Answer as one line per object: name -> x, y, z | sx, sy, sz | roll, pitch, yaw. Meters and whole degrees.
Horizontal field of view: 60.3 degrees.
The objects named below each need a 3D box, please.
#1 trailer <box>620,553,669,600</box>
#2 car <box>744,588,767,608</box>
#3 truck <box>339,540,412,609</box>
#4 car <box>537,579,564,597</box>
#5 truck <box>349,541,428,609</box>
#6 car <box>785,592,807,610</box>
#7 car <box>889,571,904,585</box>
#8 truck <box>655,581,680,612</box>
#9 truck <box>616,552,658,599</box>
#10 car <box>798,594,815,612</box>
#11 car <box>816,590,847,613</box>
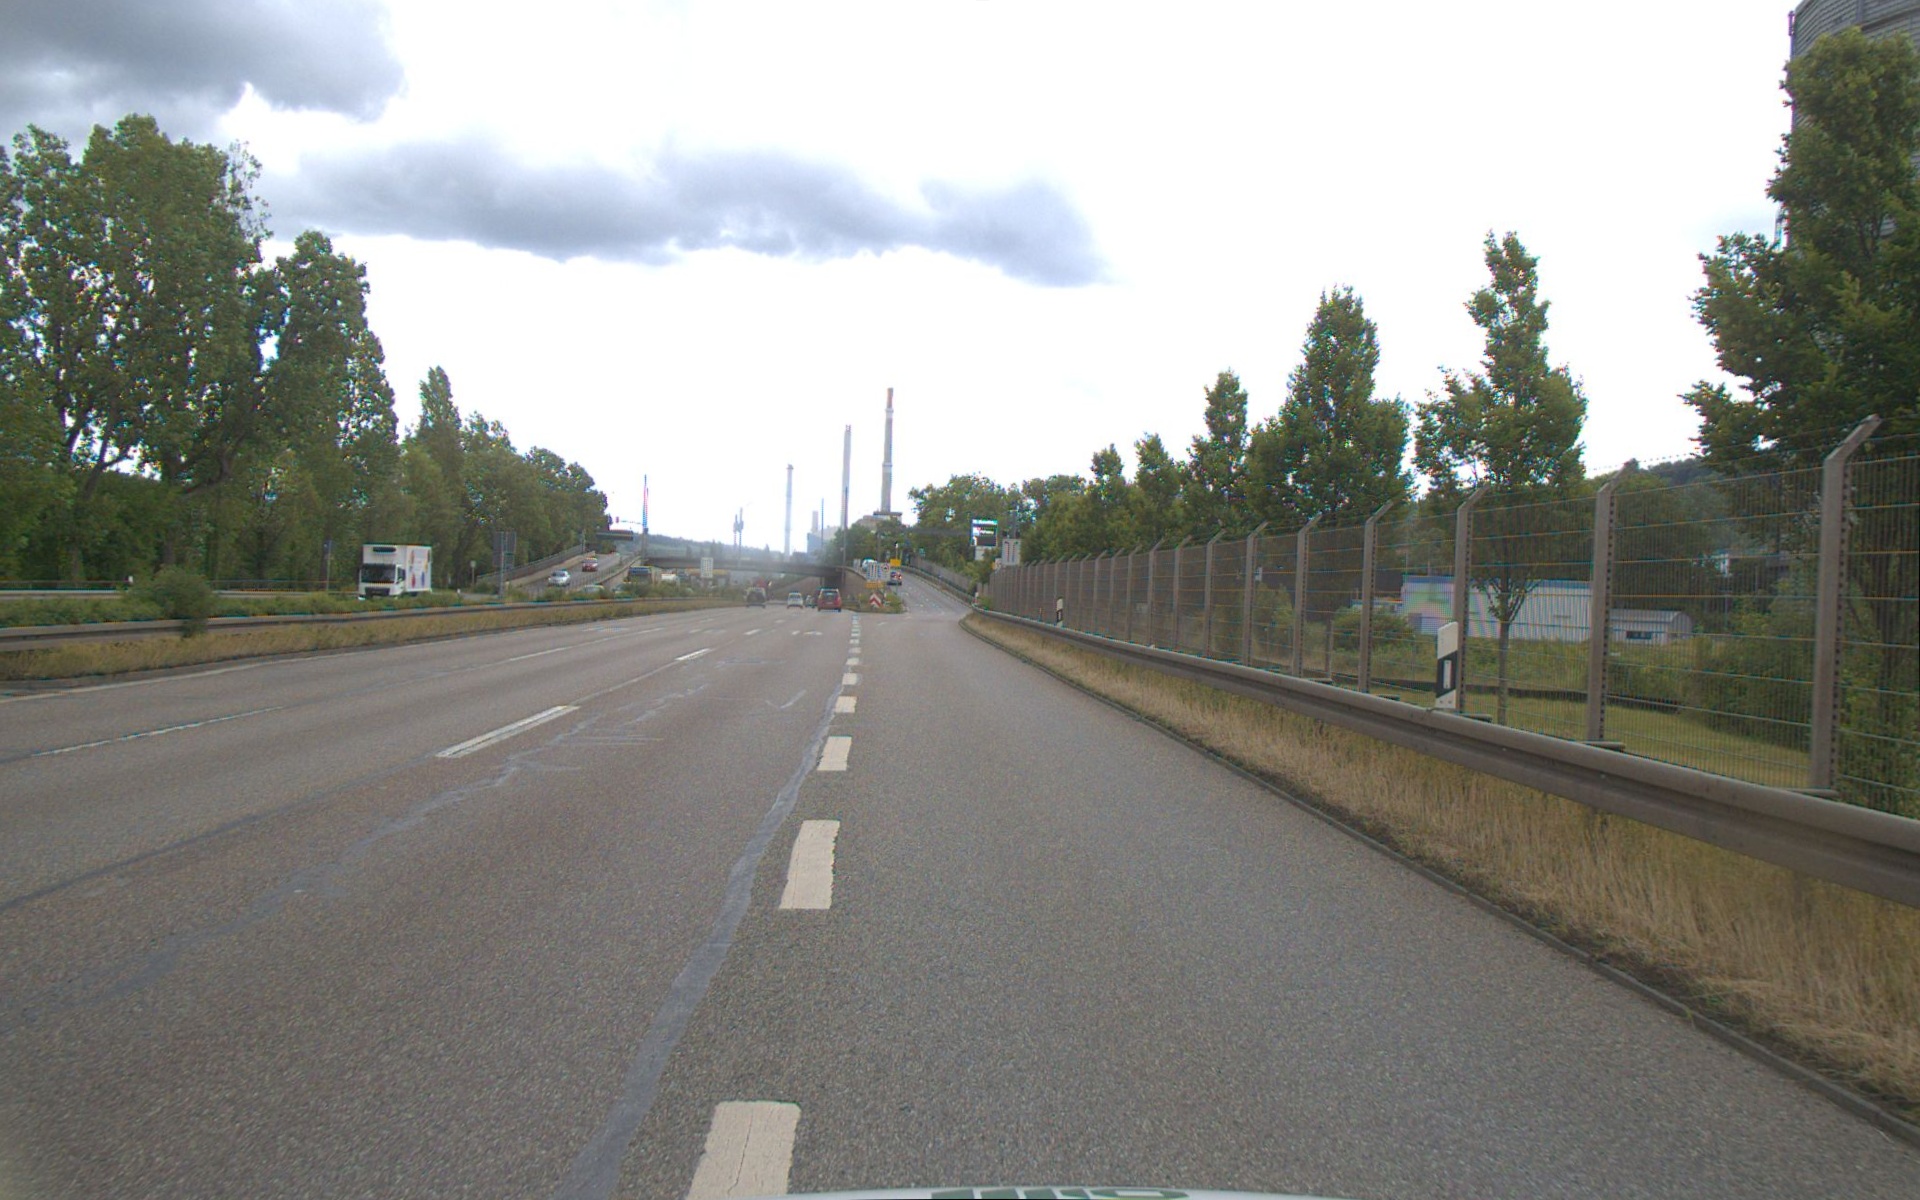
trailer -> -34.410, -2.502, 181.031 | 3.396, 4.754, 14.768 | 2, 0, -4
car -> -19.649, -0.192, 159.098 | 1.954, 1.713, 3.997 | 3, 0, -4
truck -> -33.540, -1.430, 95.022 | 2.928, 3.706, 3.994 | 3, 0, -7
car -> -41.721, -1.220, 168.704 | 1.956, 1.673, 4.597 | 4, 0, -7
truck -> -33.953, -1.446, 98.494 | 2.926, 3.707, 6.328 | 3, 0, -7
car -> -16.767, 0.107, 169.331 | 1.954, 1.713, 3.997 | 3, 0, -4
car -> -7.949, -2.755, 207.381 | 1.714, 1.608, 4.084 | -2, 0, -1
truck -> -39.081, -0.475, 220.889 | 2.736, 4.006, 5.305 | 3, -1, -6
truck -> -33.826, -2.522, 173.414 | 3.396, 4.754, 6.205 | 2, 0, -5
car -> -19.242, 0.335, 207.230 | 1.882, 2.048, 3.993 | 3, 0, -8
car -> -8.961, 0.070, 114.904 | 1.955, 1.444, 3.995 | 3, 0, -6
